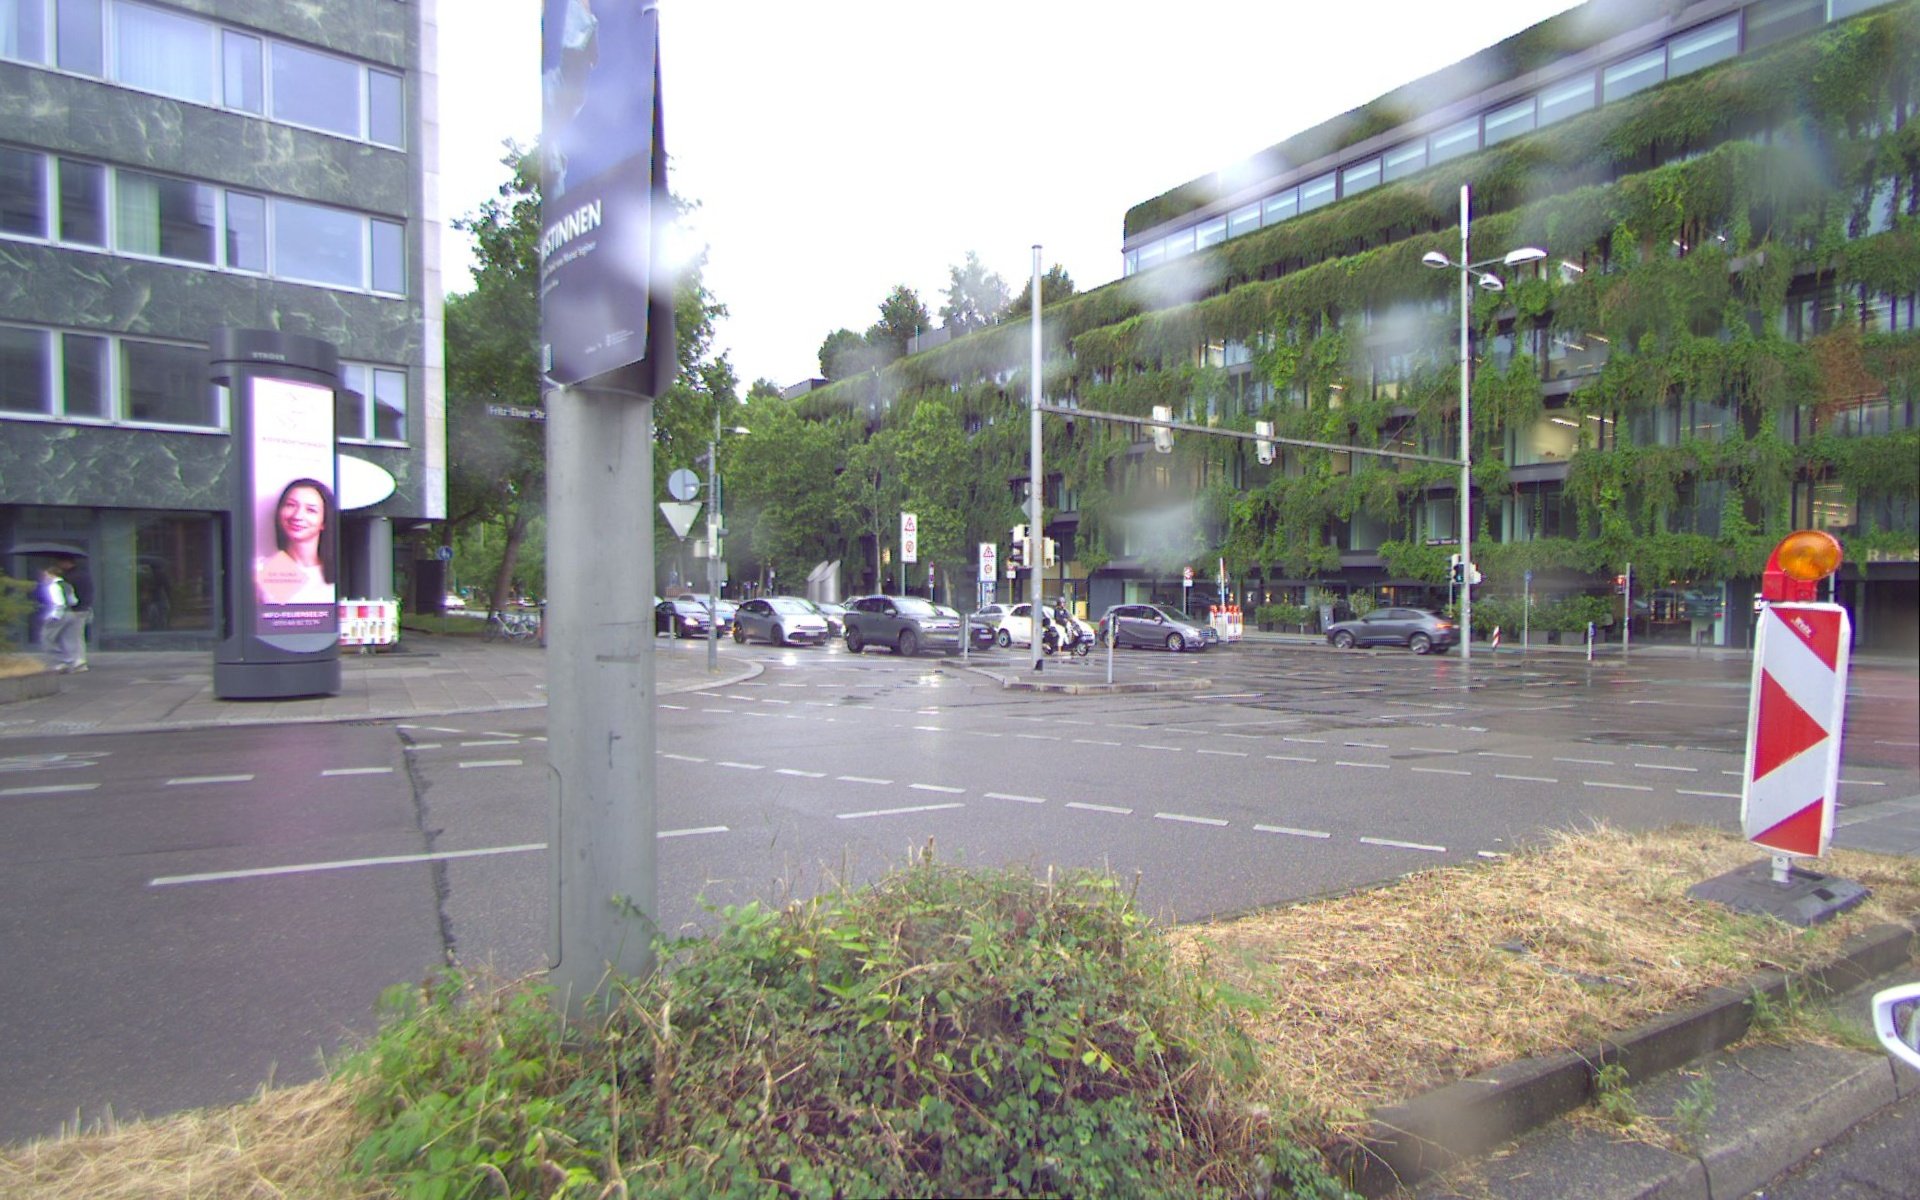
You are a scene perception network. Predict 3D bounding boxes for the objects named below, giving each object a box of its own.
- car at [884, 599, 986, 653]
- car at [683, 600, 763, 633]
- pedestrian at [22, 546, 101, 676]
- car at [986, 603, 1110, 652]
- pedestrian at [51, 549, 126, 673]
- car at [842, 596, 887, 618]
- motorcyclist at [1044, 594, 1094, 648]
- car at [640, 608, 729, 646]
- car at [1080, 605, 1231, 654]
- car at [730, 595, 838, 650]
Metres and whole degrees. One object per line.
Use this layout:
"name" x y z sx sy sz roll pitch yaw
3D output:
"car" -1.007 0.936 37.758 1.978 1.923 4.139 1 0 -33
"car" -10.673 0.729 45.016 1.982 1.389 4.131 1 0 -37
"pedestrian" -14.468 0.180 16.193 0.715 2.040 0.598 1 0 -10
"car" 2.877 0.875 33.460 1.981 1.495 3.958 1 0 -37
"pedestrian" -14.578 0.186 16.816 0.715 2.040 0.598 1 0 -10
"car" -7.367 0.542 77.240 1.783 1.588 3.962 2 0 -34
"motorcyclist" 3.138 0.597 28.987 1.153 1.492 0.832 2 0 40
"car" -10.898 1.031 39.618 1.982 1.389 4.131 1 0 -37
"car" 6.622 0.952 34.405 4.842 1.508 1.922 1 0 45
"car" -6.014 0.720 34.029 1.982 1.773 3.956 1 0 -38
